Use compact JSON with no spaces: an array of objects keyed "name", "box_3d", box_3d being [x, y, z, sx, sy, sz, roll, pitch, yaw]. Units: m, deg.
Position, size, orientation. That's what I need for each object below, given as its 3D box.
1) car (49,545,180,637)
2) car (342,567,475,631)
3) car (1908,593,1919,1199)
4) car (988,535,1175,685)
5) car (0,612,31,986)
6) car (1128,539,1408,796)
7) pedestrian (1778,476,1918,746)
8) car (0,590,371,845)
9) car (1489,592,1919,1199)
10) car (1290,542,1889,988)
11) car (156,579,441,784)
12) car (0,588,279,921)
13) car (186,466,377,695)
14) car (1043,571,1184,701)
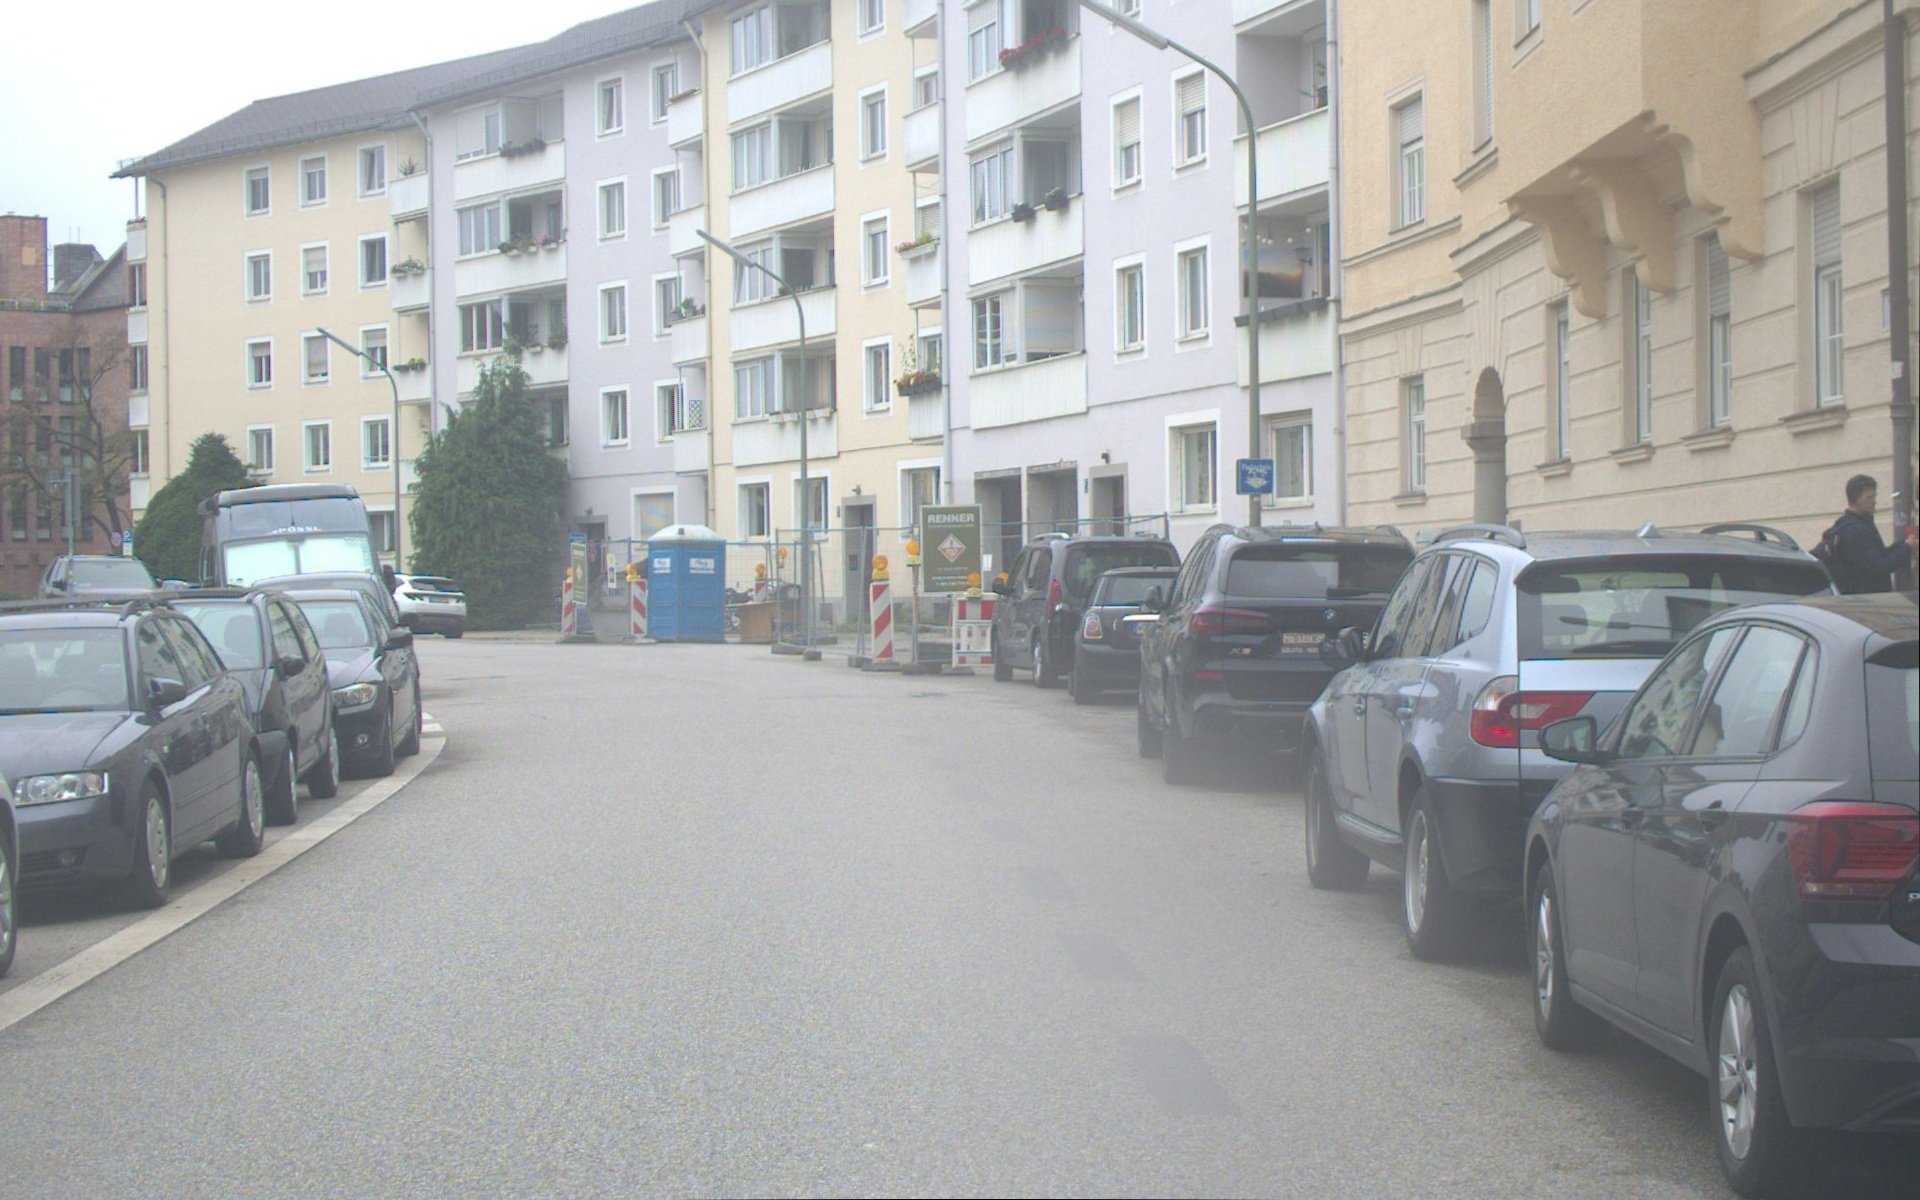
[{"name":"car","box_3d":[-15.804,-0.187,64.186,1.599,1.643,3.141,2,0,-28]},{"name":"car","box_3d":[-13.921,-0.049,86.720,1.696,1.553,3.582,-1,1,-40]},{"name":"car","box_3d":[2.639,0.745,4.264,1.590,1.427,4.421,1,1,-1]},{"name":"car","box_3d":[1.408,0.087,41.016,1.601,1.709,3.090,1,1,-10]},{"name":"car","box_3d":[-4.380,0.795,11.566,1.623,1.414,3.982,-2,1,-4]},{"name":"car","box_3d":[2.076,0.404,24.094,1.474,1.635,4.001,1,1,-2]},{"name":"pedestrian","box_3d":[5.680,0.067,22.018,0.667,1.687,0.690,2,0,0]},{"name":"car","box_3d":[-4.867,0.679,22.060,1.623,1.414,3.982,-2,1,-3]},{"name":"car","box_3d":[2.596,0.726,9.434,1.590,1.427,3.826,1,1,-1]},{"name":"car","box_3d":[2.455,0.556,14.423,1.590,1.577,4.299,1,1,-2]},{"name":"car","box_3d":[-5.035,0.577,26.571,1.623,1.414,3.648,-2,1,-3]},{"name":"car","box_3d":[-4.505,0.682,16.987,1.623,1.414,3.982,-2,1,-3]},{"name":"car","box_3d":[-8.307,-0.255,41.861,1.770,2.645,4.001,0,1,-19]},{"name":"car","box_3d":[1.580,0.352,36.023,1.272,1.294,2.798,0,1,-2]}]
